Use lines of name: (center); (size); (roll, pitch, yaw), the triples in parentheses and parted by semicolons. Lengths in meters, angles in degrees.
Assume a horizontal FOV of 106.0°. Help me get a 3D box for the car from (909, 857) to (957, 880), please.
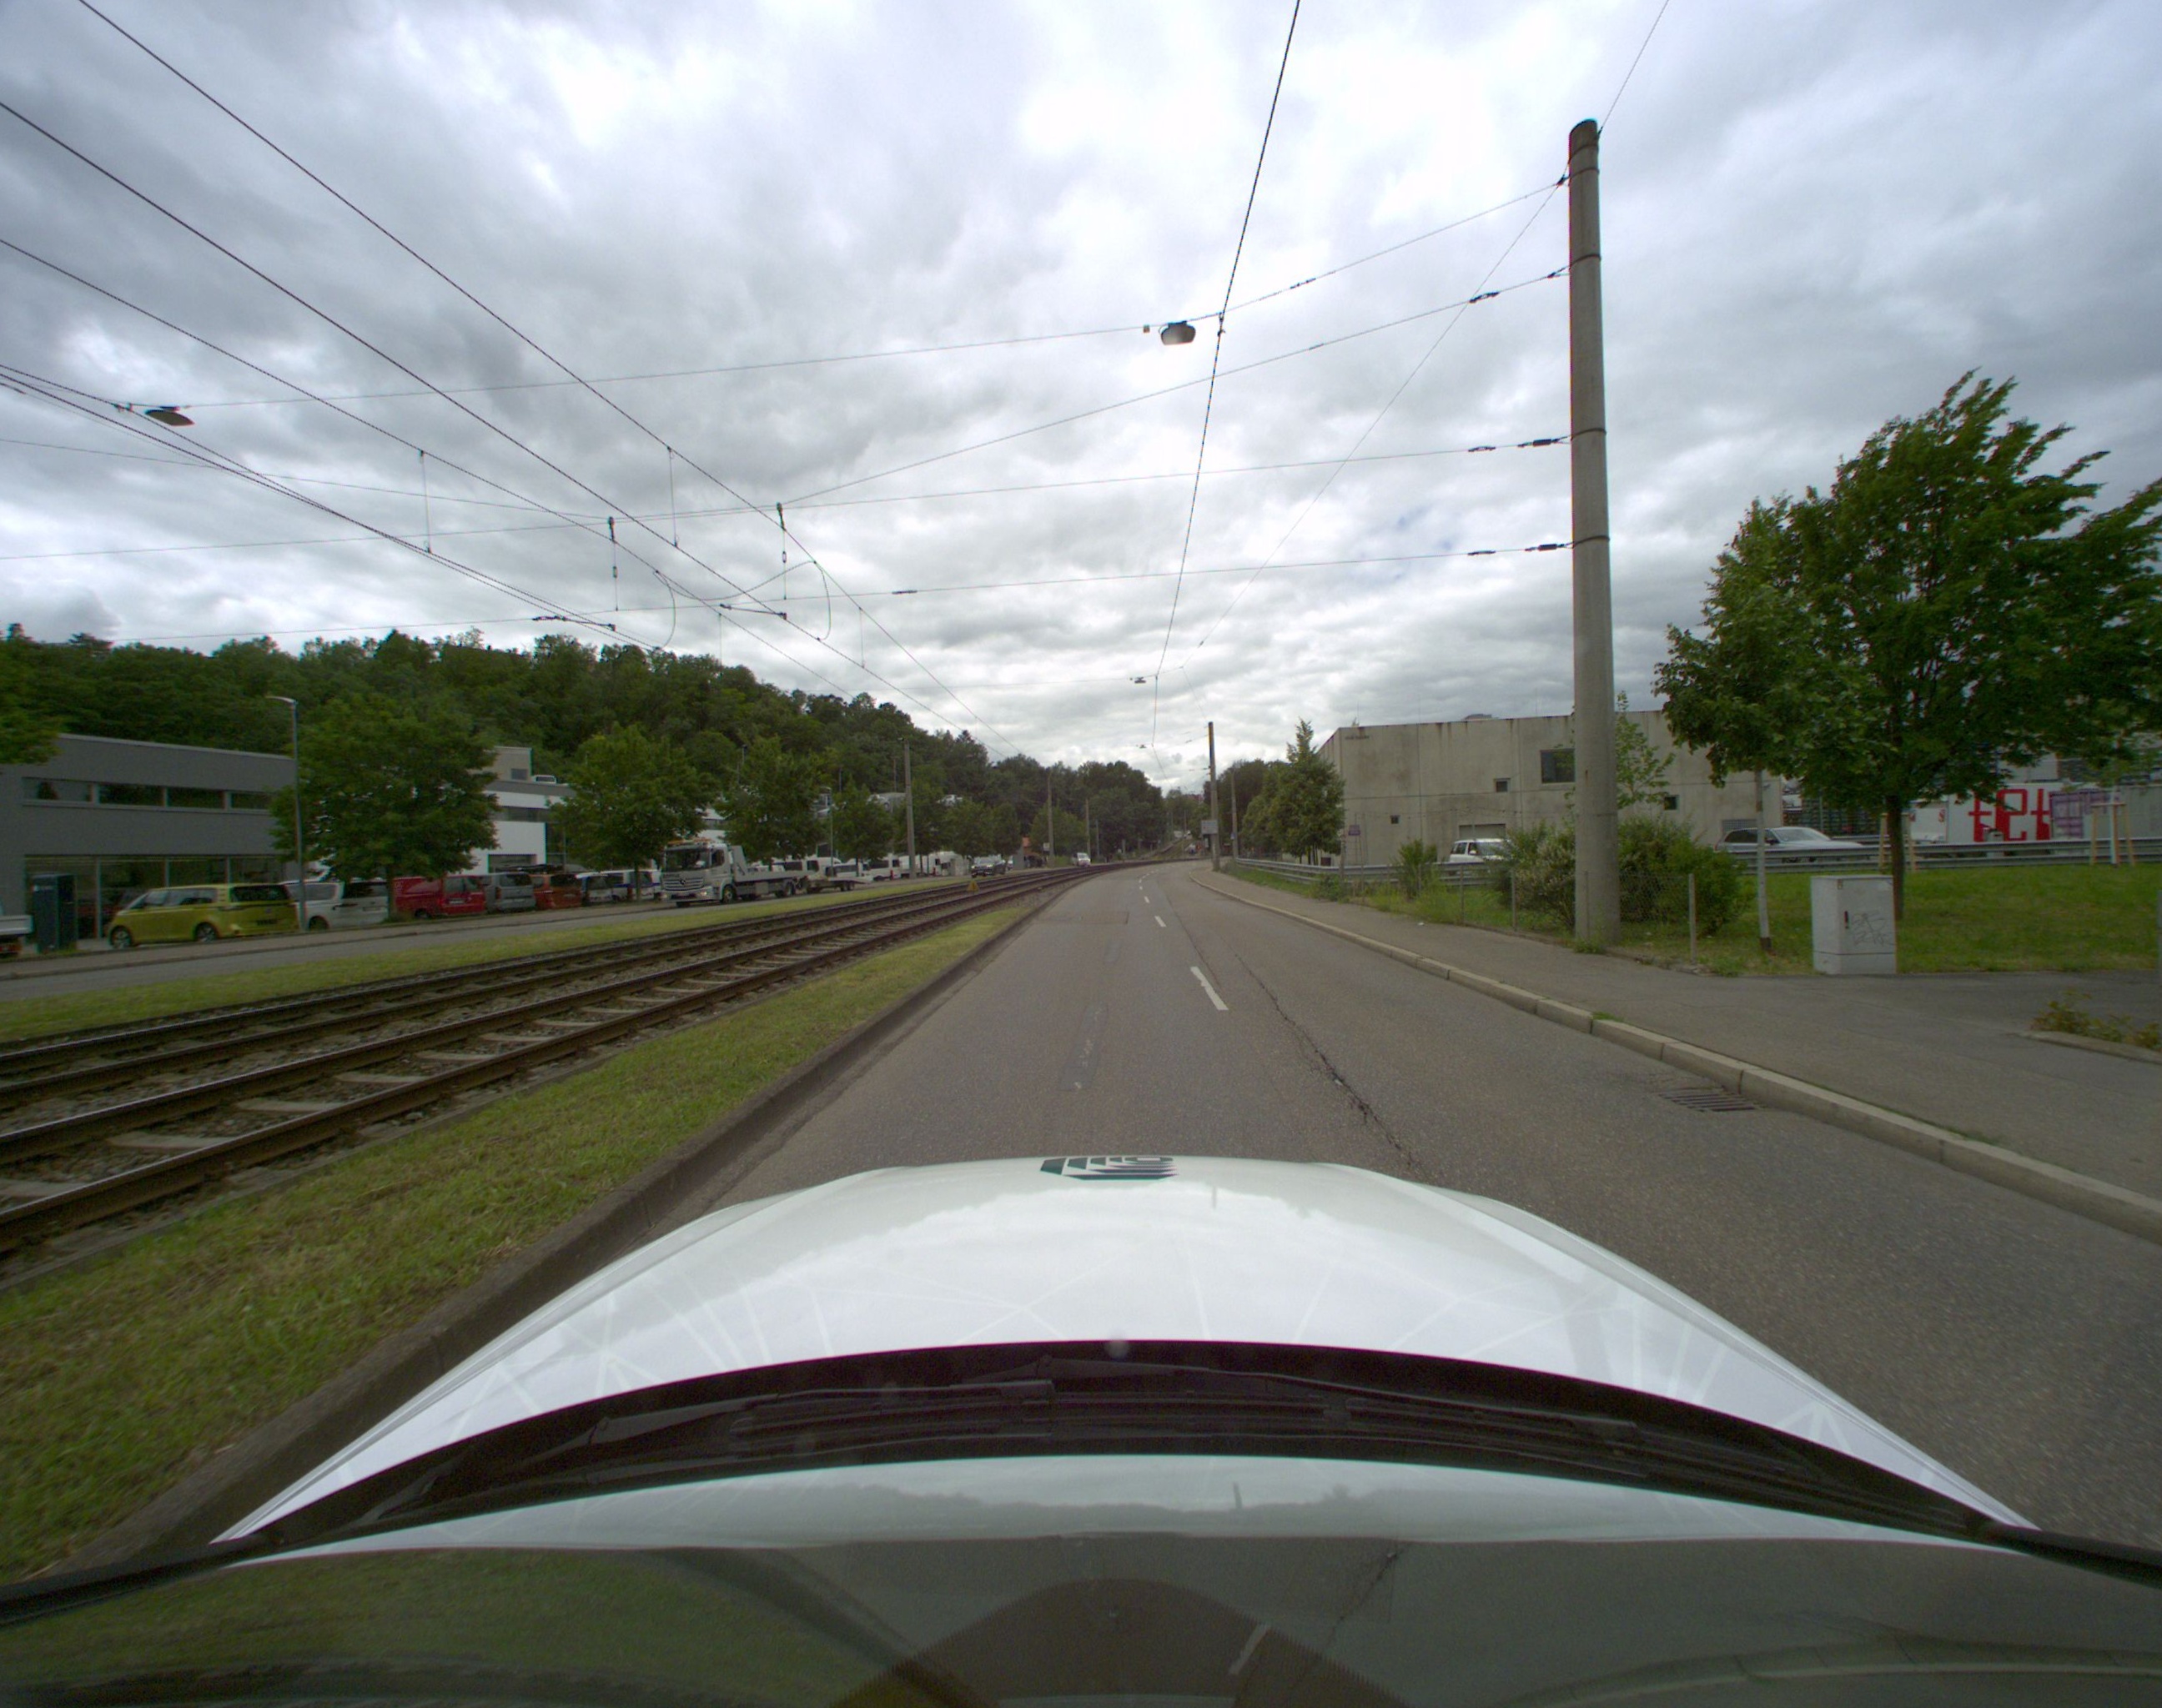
car: (-15.452, 1.515, 85.100); (4.341, 2.105, 2.009); (4, 1, 8)

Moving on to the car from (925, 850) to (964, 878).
car: (-15.571, 1.095, 93.189); (2.092, 3.019, 5.959); (-2, 0, 14)

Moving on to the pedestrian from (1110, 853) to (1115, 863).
pedestrian: (5.687, 0.645, 148.465); (0.671, 1.813, 0.859); (0, 0, 15)

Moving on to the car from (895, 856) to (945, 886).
car: (-15.841, 1.629, 80.148); (4.341, 2.819, 2.009); (-2, 0, 8)

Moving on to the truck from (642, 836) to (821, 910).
truck: (-15.303, 0.743, 36.769); (2.739, 2.741, 9.243); (-4, 0, 9)

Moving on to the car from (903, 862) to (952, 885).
car: (-15.518, 1.978, 82.357); (4.341, 2.105, 2.009); (-2, 0, 8)

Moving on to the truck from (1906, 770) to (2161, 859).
truck: (35.873, -1.369, 29.828); (7.681, 3.037, 2.362); (1, -1, 20)

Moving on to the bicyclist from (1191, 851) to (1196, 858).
bicyclist: (28.251, 0.088, 203.962); (1.046, 1.849, 0.822); (-3, 0, -5)

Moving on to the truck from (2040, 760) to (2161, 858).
truck: (36.811, -1.380, 26.205); (7.693, 3.037, 2.632); (1, -1, 12)

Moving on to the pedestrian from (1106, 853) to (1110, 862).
pedestrian: (4.957, 0.644, 148.518); (0.623, 1.713, 0.859); (0, 0, 15)

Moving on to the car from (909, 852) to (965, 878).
car: (-15.493, 1.163, 87.869); (5.436, 2.602, 2.254); (-2, 0, 12)

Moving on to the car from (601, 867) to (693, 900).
car: (-23.115, 1.554, 43.422); (3.959, 1.618, 2.007); (-2, 0, 13)

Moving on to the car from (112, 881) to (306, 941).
car: (-26.693, 1.740, 24.980); (4.306, 1.618, 2.162); (-2, 0, 13)

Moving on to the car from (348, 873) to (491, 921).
car: (-25.168, 1.627, 31.022); (4.149, 1.618, 2.070); (-2, 0, 13)

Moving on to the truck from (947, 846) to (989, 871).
truck: (-15.026, 0.588, 108.081); (5.863, 3.085, 2.133); (-2, 0, 41)

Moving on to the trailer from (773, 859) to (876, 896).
trailer: (-13.860, 1.208, 44.703); (2.368, 1.698, 6.967); (-4, -1, 10)

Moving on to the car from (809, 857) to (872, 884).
car: (-19.467, 1.349, 66.025); (4.341, 2.010, 2.009); (-2, 0, 8)

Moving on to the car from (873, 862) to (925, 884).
car: (-17.380, 1.839, 77.937); (4.341, 1.910, 2.009); (-2, 0, 8)

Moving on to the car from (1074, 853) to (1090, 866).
car: (0.096, 0.877, 123.726); (2.154, 1.888, 5.067); (0, 0, -3)

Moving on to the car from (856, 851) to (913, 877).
car: (-17.493, 0.884, 72.591); (4.341, 2.173, 2.009); (-2, 0, 8)

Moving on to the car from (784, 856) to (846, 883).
car: (-27.631, 1.616, 84.711); (5.949, 2.602, 1.992); (-2, 0, -18)

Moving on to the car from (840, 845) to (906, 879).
car: (-17.882, 0.696, 70.018); (4.937, 2.698, 2.120); (-2, 0, 8)

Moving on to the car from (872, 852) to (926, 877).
car: (-16.706, 0.971, 75.034); (4.341, 2.173, 2.009); (-2, 0, 8)

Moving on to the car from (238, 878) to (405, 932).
car: (-26.095, 1.741, 28.042); (4.315, 1.618, 2.128); (-2, 0, 13)

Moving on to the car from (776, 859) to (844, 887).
car: (-20.290, 1.424, 60.947); (4.335, 1.947, 2.011); (-2, 0, 13)

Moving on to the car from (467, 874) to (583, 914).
car: (-24.522, 1.749, 35.973); (3.959, 1.618, 2.007); (-2, 0, 13)

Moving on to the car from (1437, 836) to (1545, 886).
car: (13.878, 0.179, 27.846); (1.741, 1.574, 4.435); (0, 1, 4)

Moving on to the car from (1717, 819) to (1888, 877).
car: (23.818, -0.190, 27.170); (1.901, 1.720, 4.697); (-2, 0, 7)

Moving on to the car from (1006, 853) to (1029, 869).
car: (-8.801, 0.950, 113.647); (1.981, 2.013, 4.933); (-2, 0, 10)

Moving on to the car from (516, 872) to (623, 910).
car: (-24.043, 1.748, 38.367); (3.959, 1.618, 2.007); (-2, 0, 13)

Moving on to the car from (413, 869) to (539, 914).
car: (-24.966, 1.542, 33.648); (3.959, 1.664, 2.055); (-2, 0, 13)

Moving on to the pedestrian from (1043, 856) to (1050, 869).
pedestrian: (-4.415, 1.071, 105.002); (0.714, 1.655, 1.044); (1, 0, 5)

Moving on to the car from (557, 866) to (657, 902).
car: (-23.618, 1.474, 40.630); (3.959, 1.618, 2.007); (-2, 0, 13)

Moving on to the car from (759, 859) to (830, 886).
car: (-20.594, 1.323, 58.628); (4.335, 1.845, 2.011); (-2, 0, 13)

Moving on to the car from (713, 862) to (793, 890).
car: (-21.477, 1.433, 53.401); (4.340, 1.688, 2.036); (-2, 0, 8)

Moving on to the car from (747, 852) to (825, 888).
car: (-20.263, 1.066, 56.016); (4.465, 2.311, 2.133); (-2, 0, 13)

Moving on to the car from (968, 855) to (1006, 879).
car: (-7.412, 1.022, 64.575); (1.984, 1.739, 4.541); (-4, -1, 6)

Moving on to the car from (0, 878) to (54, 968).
car: (-27.192, 1.684, 19.570); (5.642, 2.008, 2.157); (-2, 0, 29)

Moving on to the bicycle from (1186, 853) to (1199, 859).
bicycle: (27.981, 0.544, 203.931); (2.982, 1.343, 0.825); (-2, 0, -6)

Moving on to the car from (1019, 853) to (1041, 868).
car: (-7.482, 0.908, 119.580); (1.981, 2.013, 5.145); (-2, 0, 11)
